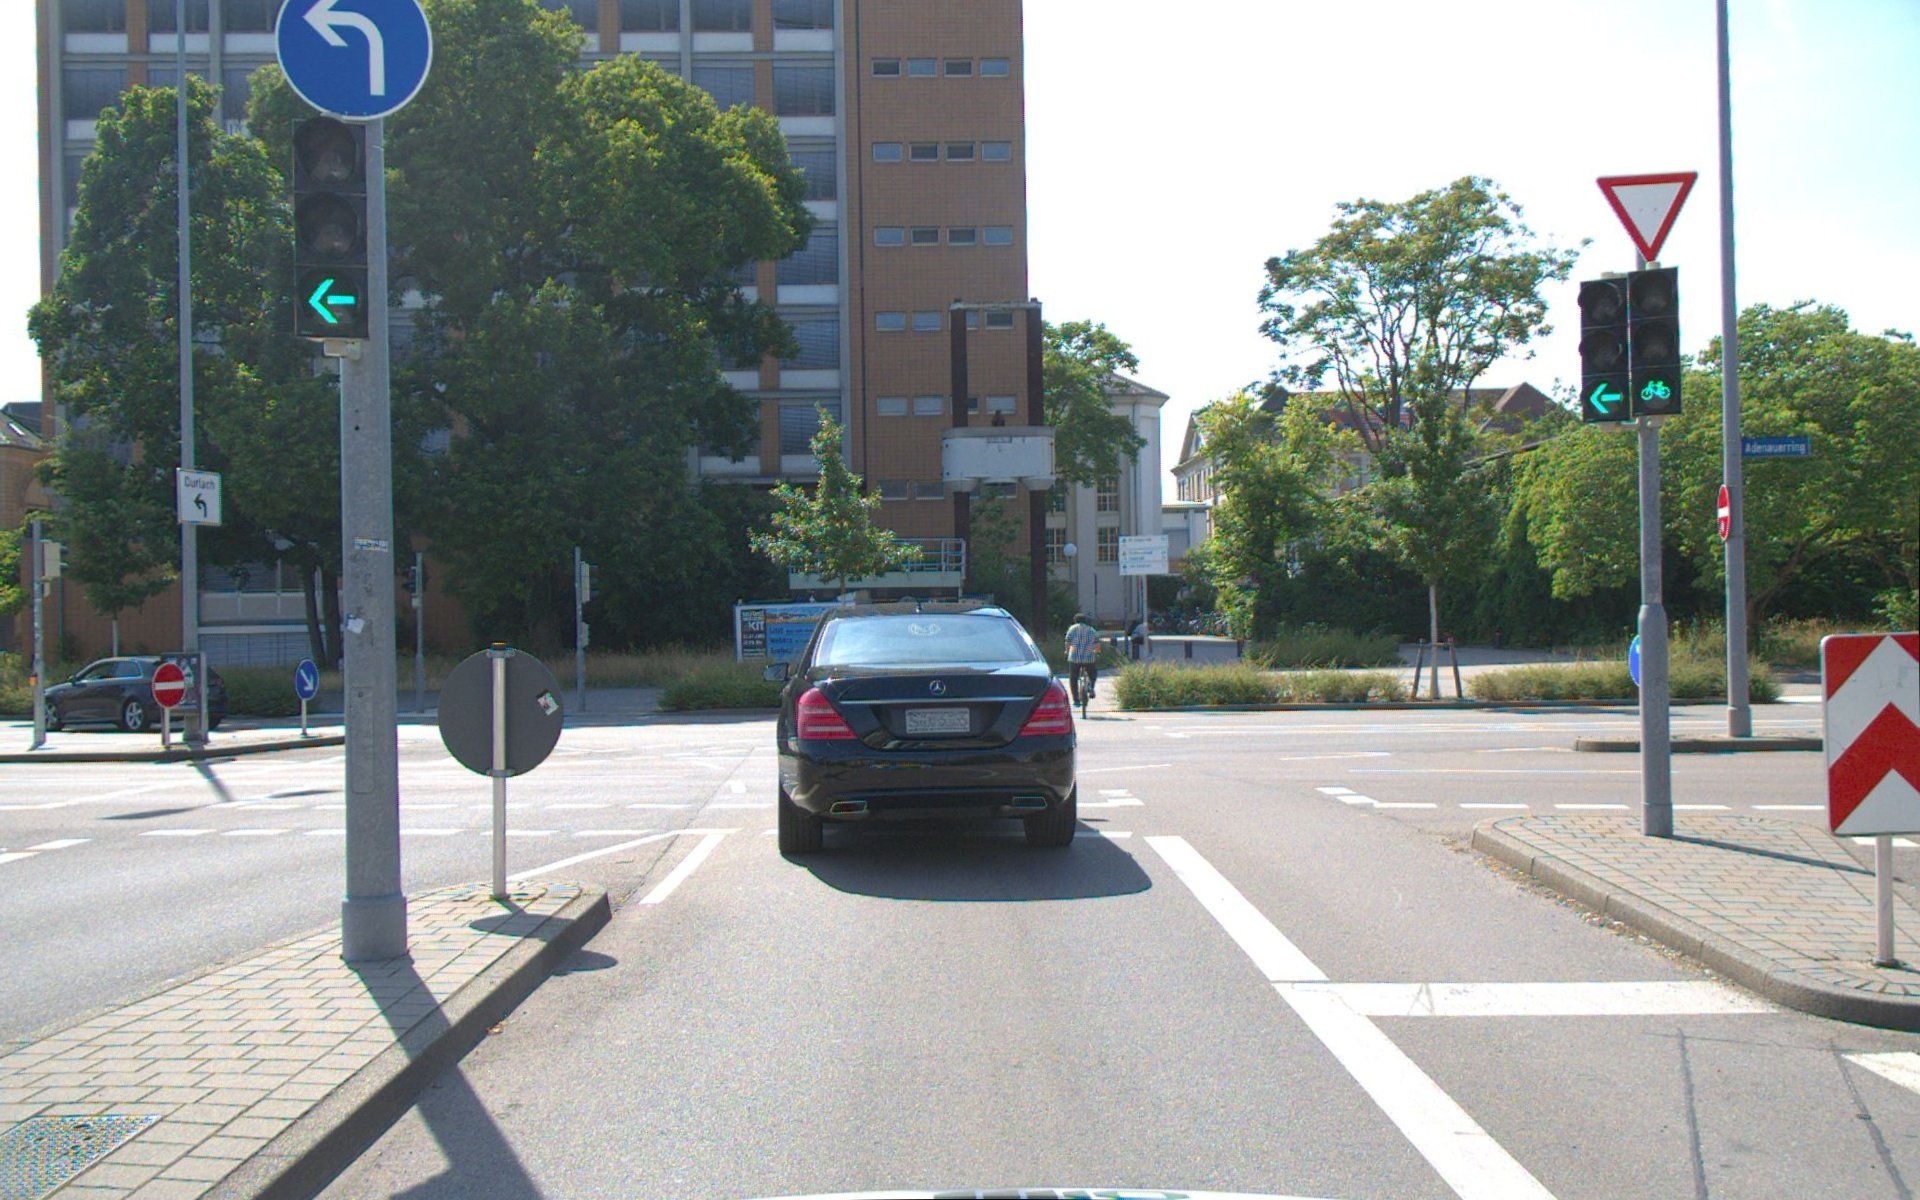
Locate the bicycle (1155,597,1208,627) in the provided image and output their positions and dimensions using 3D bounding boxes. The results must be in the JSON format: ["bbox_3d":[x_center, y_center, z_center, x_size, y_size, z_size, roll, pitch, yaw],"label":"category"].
[{"bbox_3d":[12.081,0.638,90.231,2.766,1.526,0.841,-2,0,-2],"label":"bicycle"}]

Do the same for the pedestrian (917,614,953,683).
[{"bbox_3d":[-0.580,1.147,39.261,0.794,1.607,0.692,-1,-1,1],"label":"pedestrian"}]

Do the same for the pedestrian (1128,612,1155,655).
[{"bbox_3d":[5.425,0.997,49.402,0.776,1.235,0.758,1,-1,6],"label":"pedestrian"}]

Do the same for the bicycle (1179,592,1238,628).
[{"bbox_3d":[12.293,0.478,81.931,2.766,1.688,0.841,-2,1,-2],"label":"bicycle"}]

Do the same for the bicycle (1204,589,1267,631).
[{"bbox_3d":[12.844,0.447,77.223,2.766,1.868,0.841,-2,0,-2],"label":"bicycle"}]

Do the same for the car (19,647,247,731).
[{"bbox_3d":[-15.958,1.713,31.931,3.905,1.537,1.800,-2,-2,21],"label":"car"}]

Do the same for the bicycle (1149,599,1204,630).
[{"bbox_3d":[11.490,0.768,87.958,2.766,1.586,0.841,-2,0,-2],"label":"bicycle"}]

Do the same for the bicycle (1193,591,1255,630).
[{"bbox_3d":[12.678,0.487,79.479,2.766,1.775,0.841,-2,0,-2],"label":"bicycle"}]

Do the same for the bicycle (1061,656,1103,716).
[{"bbox_3d":[2.161,1.509,29.416,0.678,0.963,1.959,1,-1,2],"label":"bicycle"}]

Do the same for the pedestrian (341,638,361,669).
[{"bbox_3d":[-17.961,1.571,48.790,0.419,0.907,0.393,-2,-1,8],"label":"pedestrian"}]

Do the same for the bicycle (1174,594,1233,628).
[{"bbox_3d":[12.206,0.557,82.996,2.766,1.615,0.841,-2,0,-2],"label":"bicycle"}]

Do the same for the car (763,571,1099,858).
[{"bbox_3d":[-0.227,0.747,11.395,1.821,1.557,4.710,1,-3,-2],"label":"car"}]

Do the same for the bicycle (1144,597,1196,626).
[{"bbox_3d":[11.698,0.630,92.153,2.766,1.506,0.841,-2,0,-2],"label":"bicycle"}]

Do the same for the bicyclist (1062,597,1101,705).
[{"bbox_3d":[2.181,0.905,29.857,0.671,1.911,0.860,0,-1,2],"label":"bicyclist"}]

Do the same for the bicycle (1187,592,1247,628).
[{"bbox_3d":[12.542,0.474,80.801,2.766,1.678,0.841,-2,0,-2],"label":"bicycle"}]
